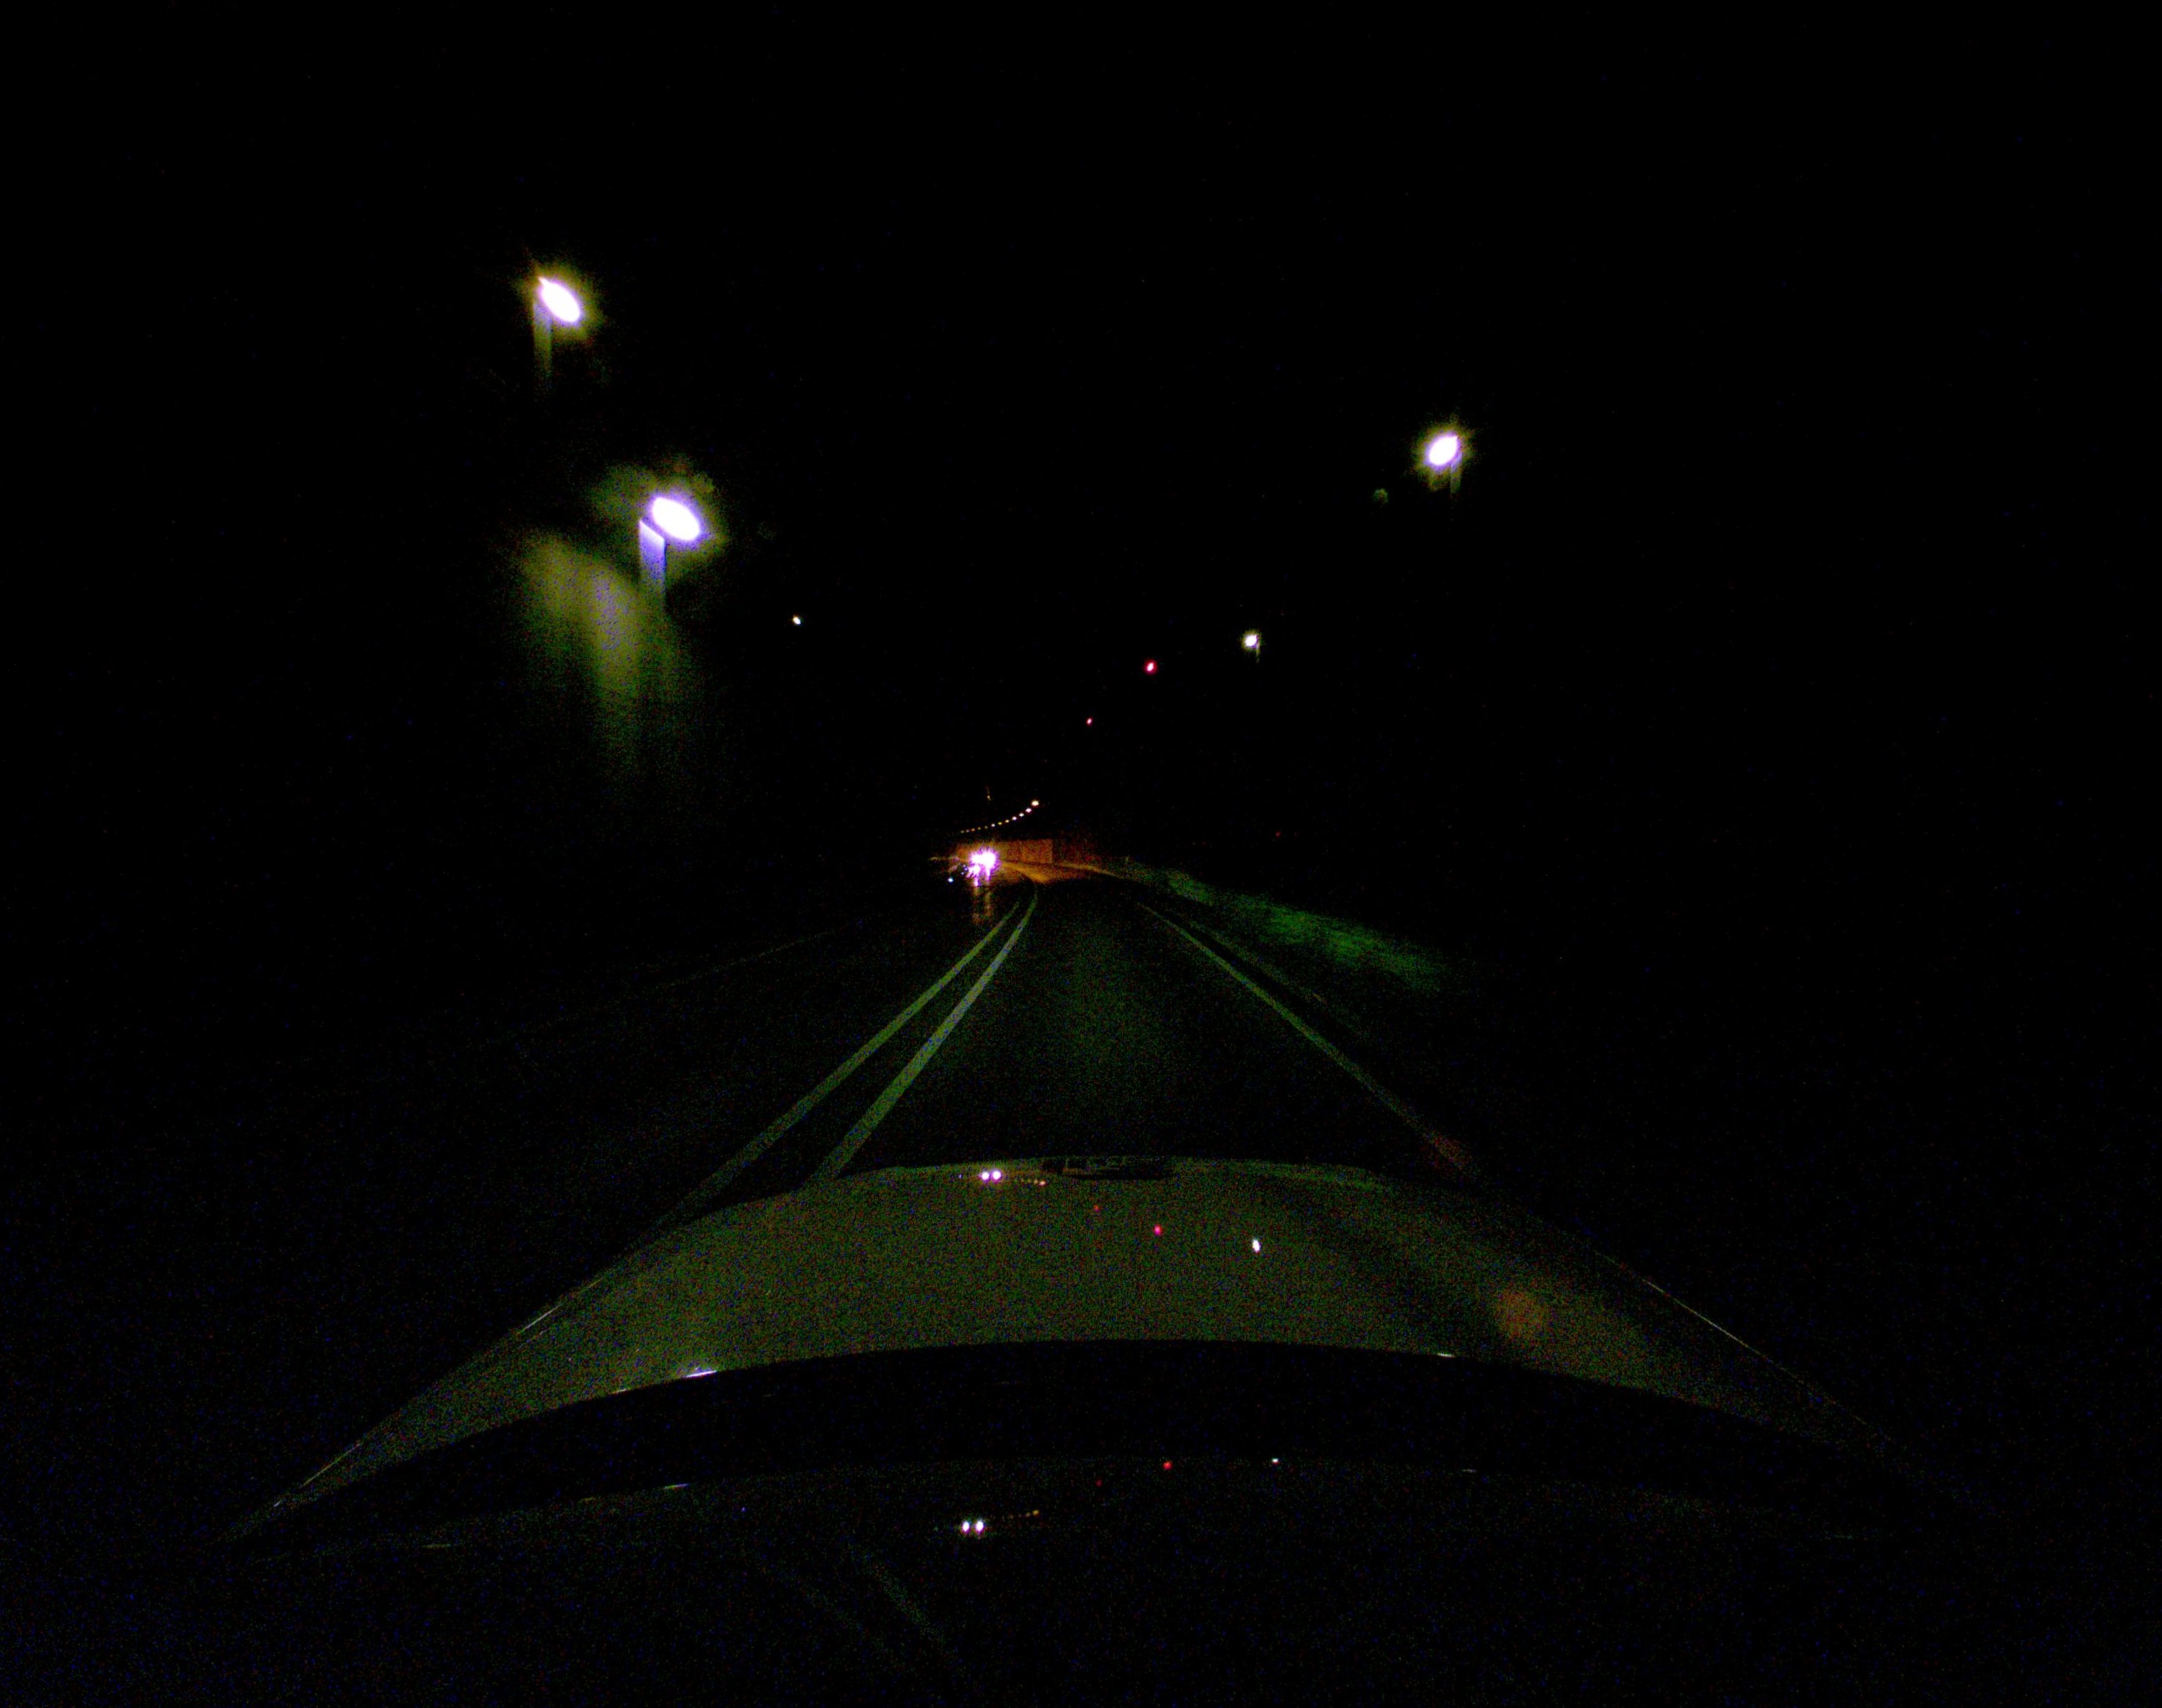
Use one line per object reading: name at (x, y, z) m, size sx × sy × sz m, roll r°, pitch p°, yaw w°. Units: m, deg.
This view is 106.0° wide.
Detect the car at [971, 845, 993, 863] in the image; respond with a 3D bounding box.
car at (-11.054, -0.005, 90.597) m, size 1.995 × 1.740 × 3.984 m, roll 4°, pitch -1°, yaw -12°
